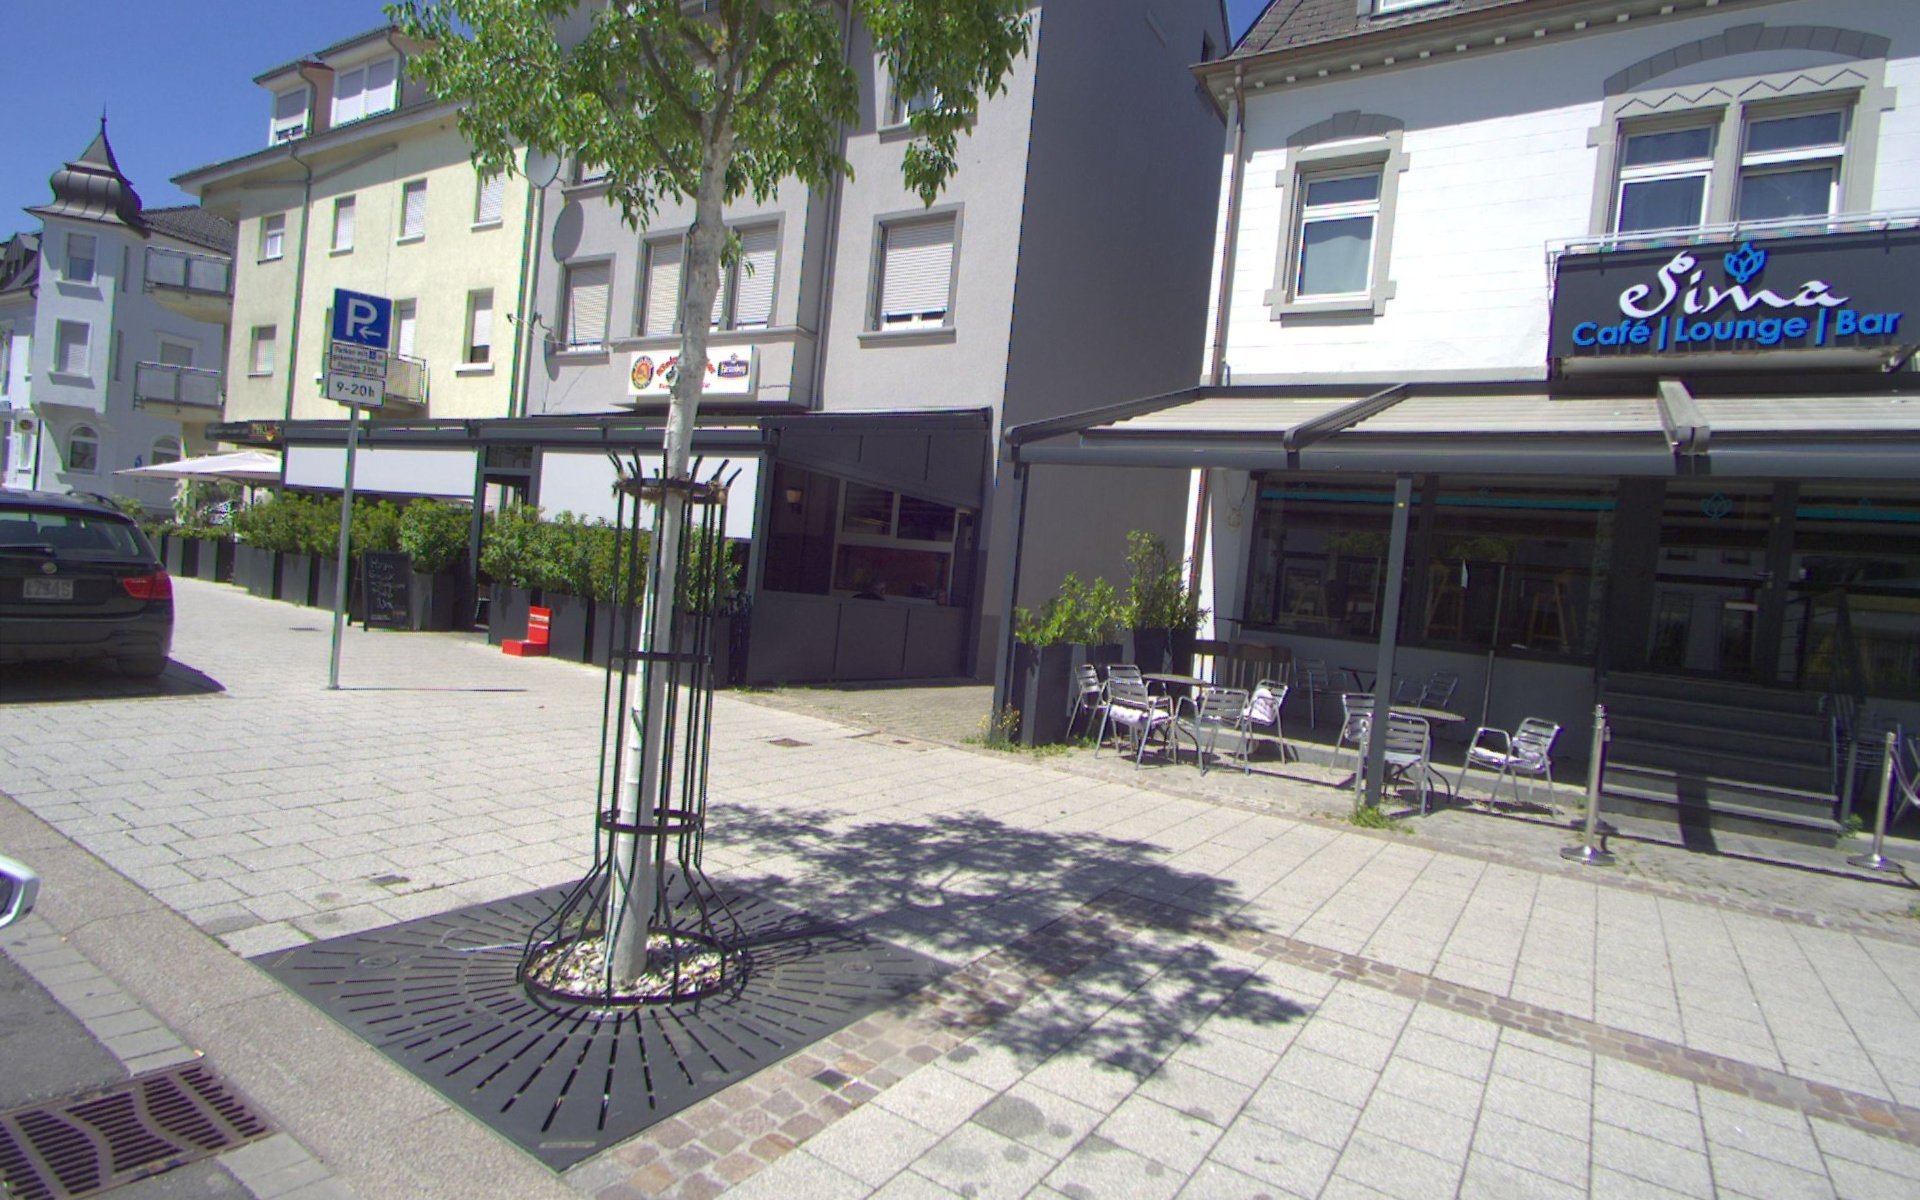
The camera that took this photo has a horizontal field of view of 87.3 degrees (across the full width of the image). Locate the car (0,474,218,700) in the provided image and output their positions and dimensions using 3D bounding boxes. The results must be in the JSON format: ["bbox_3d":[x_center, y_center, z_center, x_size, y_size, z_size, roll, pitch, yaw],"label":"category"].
[{"bbox_3d":[-7.853,-0.228,8.084,4.031,1.502,1.831,5,2,35],"label":"car"}]
